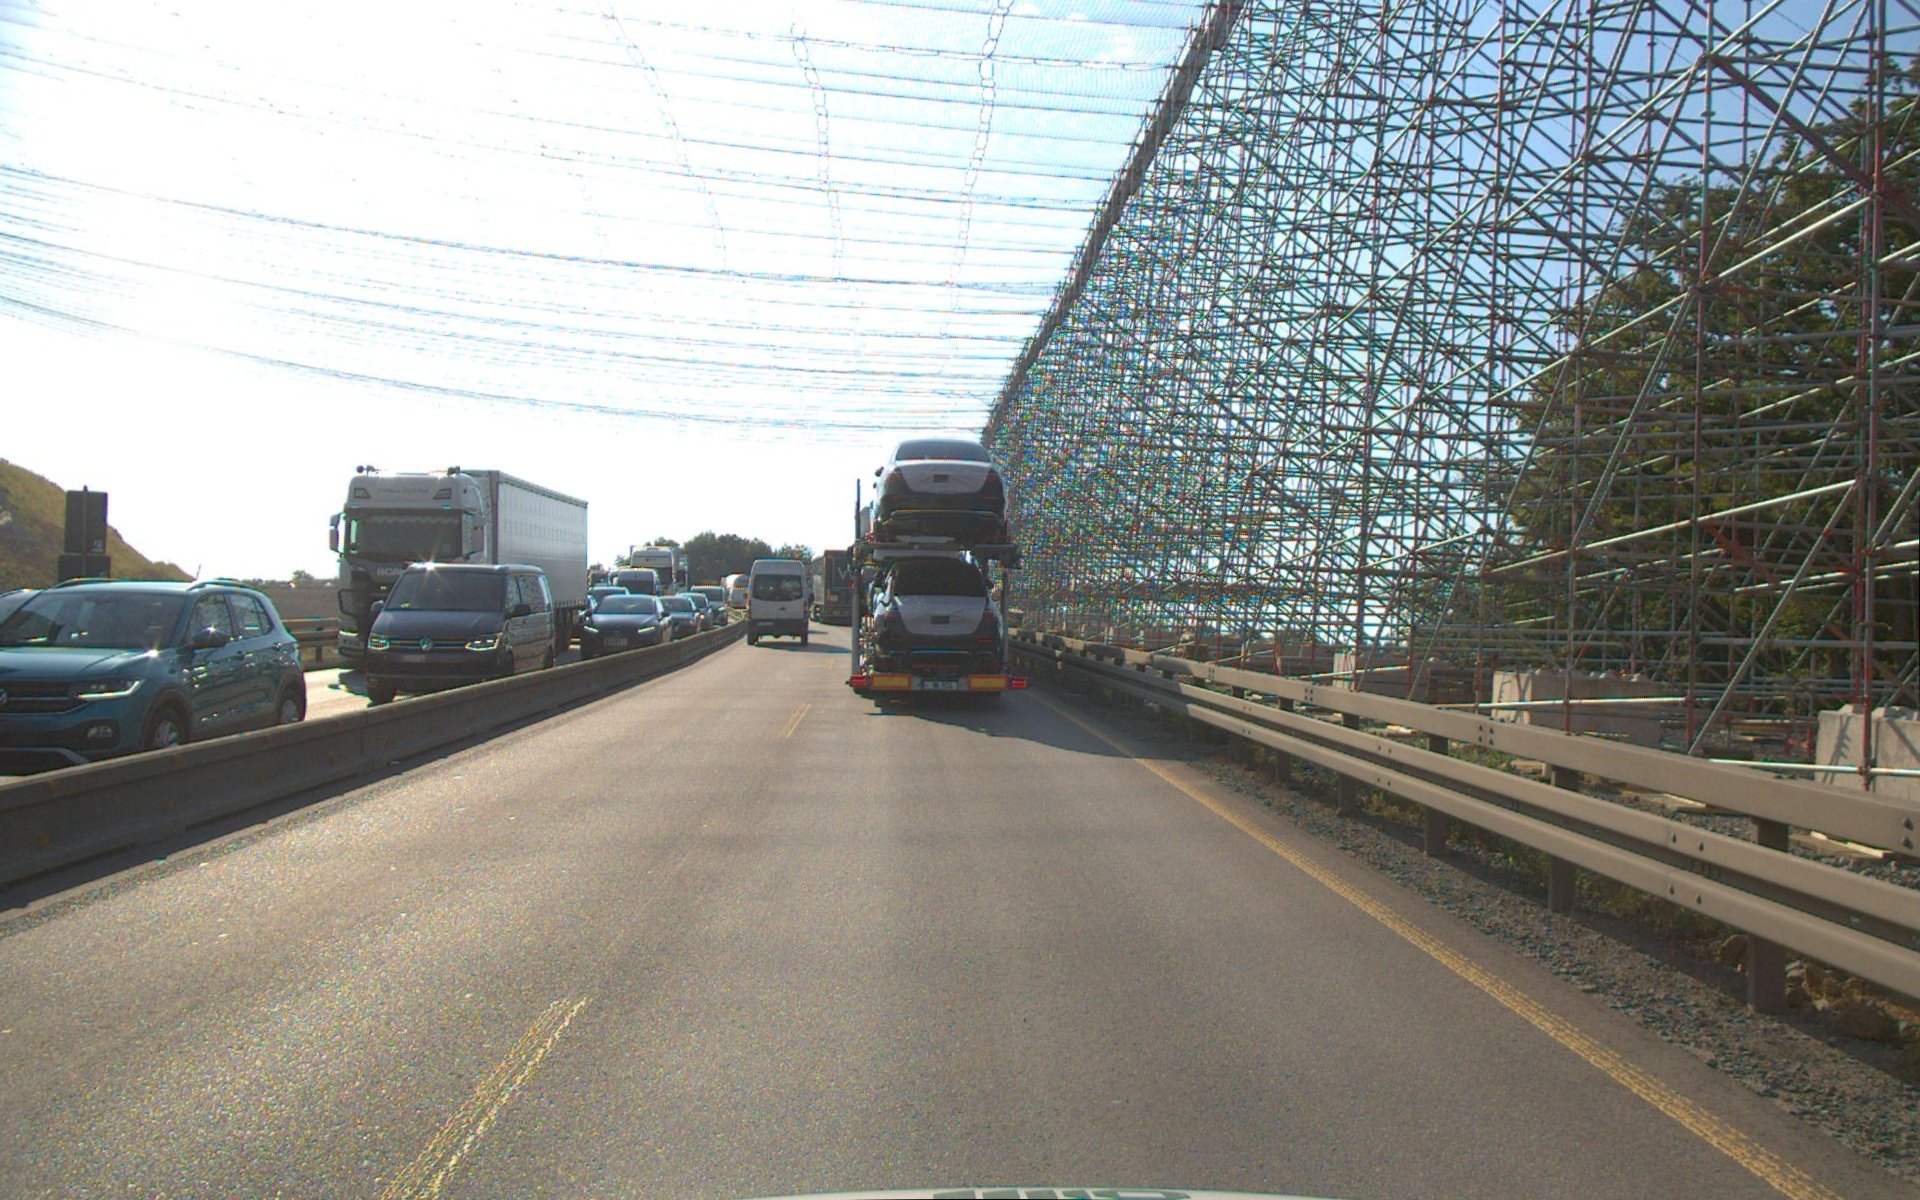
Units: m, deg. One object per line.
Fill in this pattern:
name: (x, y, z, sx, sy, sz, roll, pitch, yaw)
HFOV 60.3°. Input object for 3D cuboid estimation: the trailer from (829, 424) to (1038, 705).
trailer: (-0.669, -0.413, 29.861, 2.811, 3.790, 14.939, 0, -1, -2)

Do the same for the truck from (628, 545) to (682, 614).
truck: (-16.978, -1.101, 92.734, 2.547, 3.534, 12.366, 2, 0, -9)

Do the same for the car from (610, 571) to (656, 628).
car: (-15.478, -0.038, 78.470, 1.957, 2.586, 3.991, 2, 0, -10)

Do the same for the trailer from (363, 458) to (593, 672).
trailer: (-11.410, -0.732, 40.862, 2.602, 4.307, 13.905, 2, 0, -5)

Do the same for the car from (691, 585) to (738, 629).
car: (-11.379, 0.324, 76.772, 1.800, 1.926, 3.997, 2, 0, -4)

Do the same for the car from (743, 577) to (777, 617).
car: (-13.571, -0.204, 112.213, 1.957, 2.623, 3.990, 2, 0, -10)

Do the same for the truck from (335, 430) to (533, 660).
truck: (-10.677, -1.012, 34.174, 2.611, 4.304, 6.097, 0, 0, -5)

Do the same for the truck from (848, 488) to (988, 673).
truck: (-0.992, -0.368, 37.468, 2.824, 3.767, 7.321, 0, -1, -2)

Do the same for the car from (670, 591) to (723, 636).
car: (-10.443, 0.516, 65.779, 1.662, 1.657, 3.997, 2, 0, -4)

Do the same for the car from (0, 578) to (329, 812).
car: (-6.690, 0.633, 13.301, 1.707, 1.561, 4.265, 1, 0, -2)

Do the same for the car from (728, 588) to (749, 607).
car: (-19.268, -0.220, 143.881, 1.678, 1.646, 3.498, 0, -1, -6)

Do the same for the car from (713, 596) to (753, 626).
car: (-12.157, 0.575, 88.440, 1.804, 1.479, 3.989, 2, 0, -11)

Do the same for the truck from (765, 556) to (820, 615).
truck: (-13.362, -1.073, 130.913, 3.618, 4.294, 13.642, -2, 0, -8)

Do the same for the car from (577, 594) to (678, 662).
car: (-8.051, 0.643, 40.386, 1.749, 1.528, 4.750, 2, 0, -4)

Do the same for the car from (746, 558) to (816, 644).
car: (-5.757, 0.061, 53.600, 1.917, 2.667, 3.998, 0, -1, -2)

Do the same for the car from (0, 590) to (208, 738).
car: (-10.273, 0.642, 18.751, 1.687, 1.473, 4.136, 1, 0, -2)

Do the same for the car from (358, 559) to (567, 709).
car: (-7.242, 0.453, 24.596, 1.837, 1.969, 4.858, 1, 0, -3)

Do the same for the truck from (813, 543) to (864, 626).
truck: (-7.050, -0.855, 95.899, 2.678, 4.462, 11.511, 1, 0, -4)

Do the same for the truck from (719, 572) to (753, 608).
truck: (-24.911, -1.094, 183.568, 2.572, 3.788, 9.624, 2, 0, -14)

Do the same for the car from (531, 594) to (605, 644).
car: (-12.286, 0.579, 52.058, 1.633, 1.466, 3.848, 2, 0, -4)

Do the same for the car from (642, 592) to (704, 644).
car: (-9.348, 0.566, 54.061, 1.708, 1.570, 4.399, 2, 0, -7)
